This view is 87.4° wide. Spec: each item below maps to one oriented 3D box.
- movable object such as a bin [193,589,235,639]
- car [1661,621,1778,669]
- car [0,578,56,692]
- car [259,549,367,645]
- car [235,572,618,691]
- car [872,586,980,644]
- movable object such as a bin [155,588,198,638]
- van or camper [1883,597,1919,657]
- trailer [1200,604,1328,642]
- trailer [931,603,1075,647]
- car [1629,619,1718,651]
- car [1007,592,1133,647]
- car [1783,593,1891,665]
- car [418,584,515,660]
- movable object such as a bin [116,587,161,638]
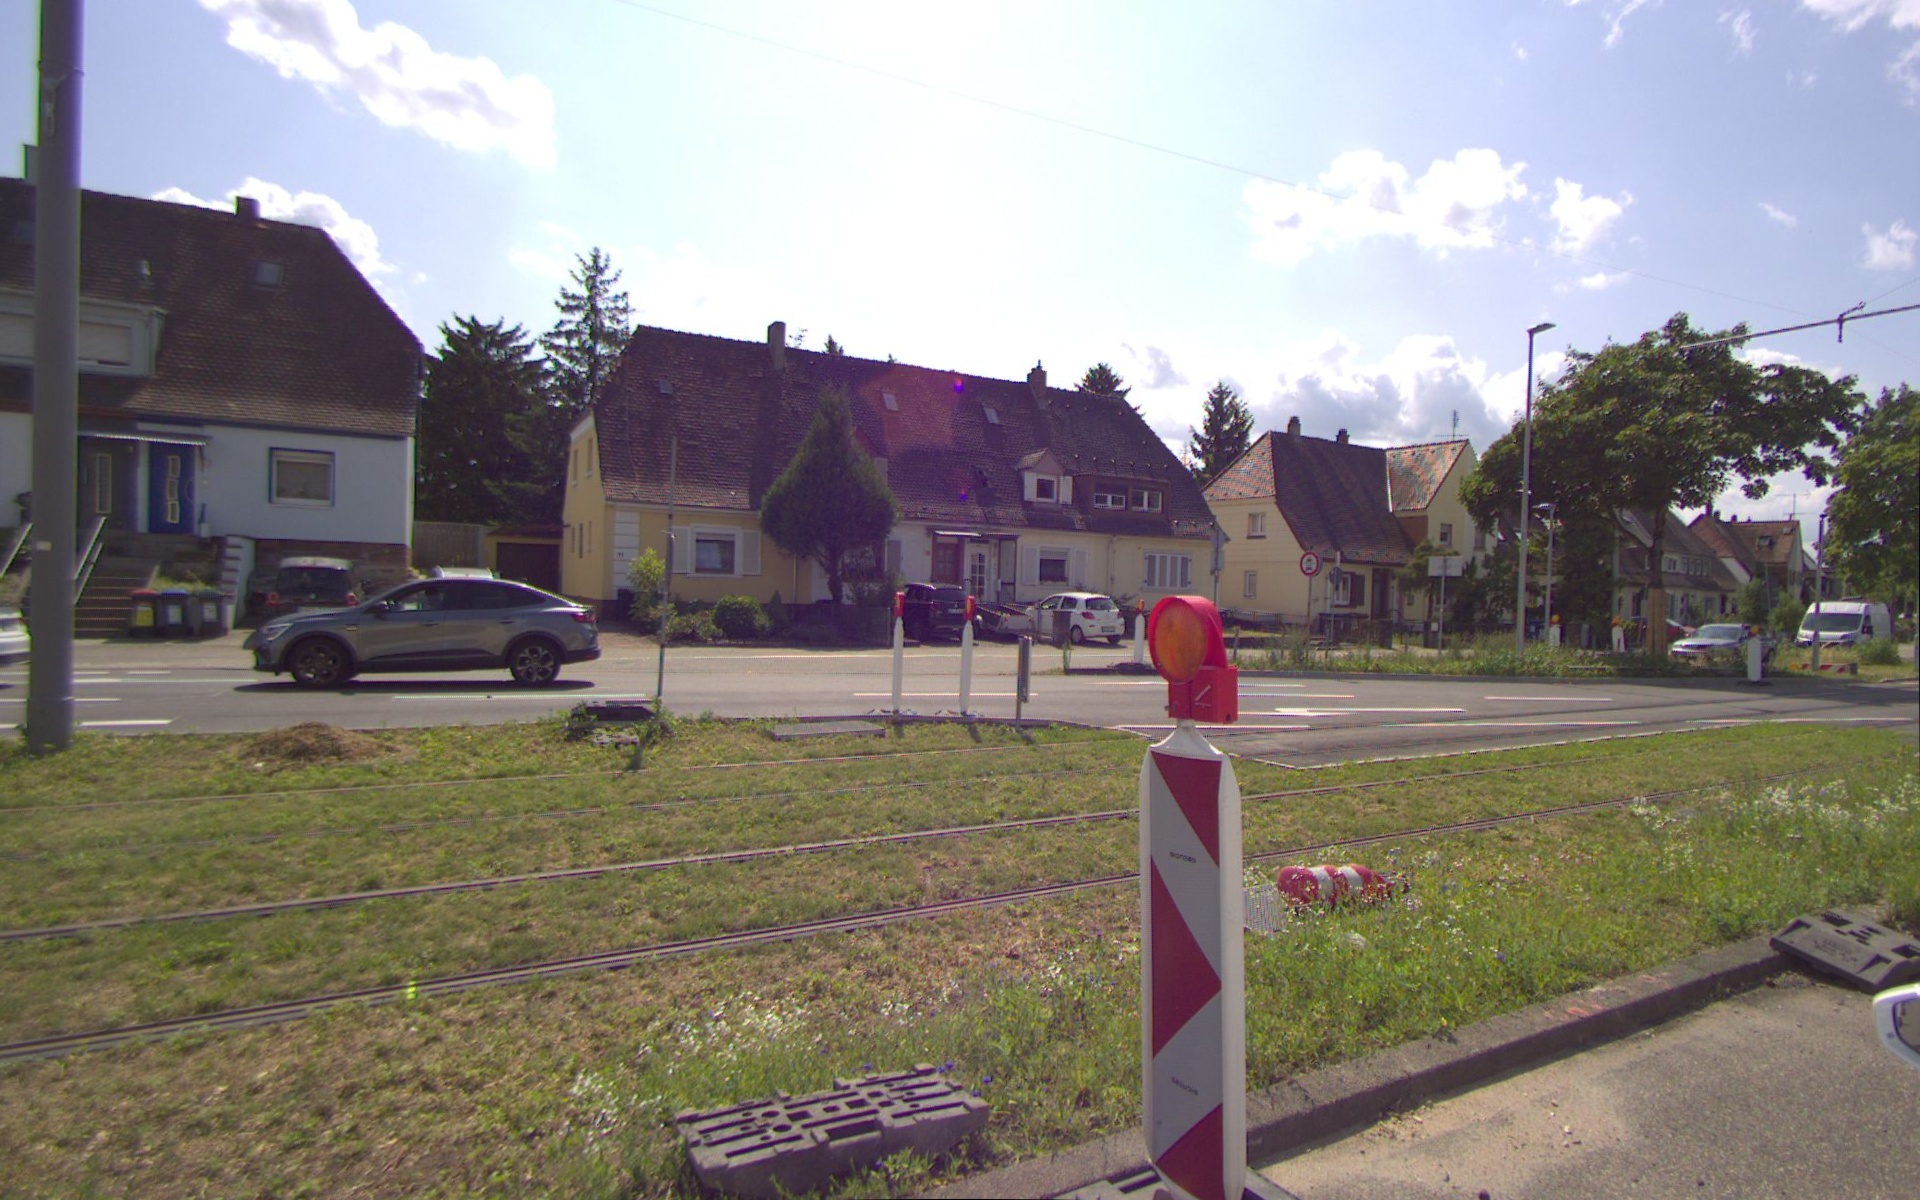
[{"bbox_3d":[-14.875,0.274,20.037,0.603,0.965,0.514,1,0,-30],"label":"movable object such as a bin"},{"bbox_3d":[25.810,1.514,34.068,4.704,1.484,1.682,2,0,-33],"label":"car"},{"bbox_3d":[-13.741,0.353,11.660,4.482,1.352,1.719,2,0,-26],"label":"car"},{"bbox_3d":[-13.929,-0.077,21.756,1.782,1.870,3.965,1,0,-32],"label":"car"},{"bbox_3d":[-7.584,0.458,14.786,4.703,1.547,1.721,2,0,-23],"label":"car"},{"bbox_3d":[-1.076,0.411,29.636,1.685,1.565,3.869,1,0,-27],"label":"car"},{"bbox_3d":[-15.387,0.257,19.733,0.576,0.965,0.514,1,0,-30],"label":"movable object such as a bin"},{"bbox_3d":[50.631,1.429,52.498,7.232,3.010,2.357,2,0,-39],"label":"van or camper"},{"bbox_3d":[12.664,0.934,42.249,2.000,1.412,5.231,2,0,-29],"label":"trailer"},{"bbox_3d":[1.189,0.717,30.429,1.939,1.139,4.893,2,0,-32],"label":"trailer"},{"bbox_3d":[38.669,1.874,54.511,1.655,1.542,3.592,2,0,-36],"label":"car"},{"bbox_3d":[3.378,0.575,31.461,1.744,1.565,3.922,1,0,-36],"label":"car"},{"bbox_3d":[35.300,1.147,40.401,4.867,2.704,2.139,2,0,-35],"label":"car"},{"bbox_3d":[-11.505,0.459,23.301,1.663,1.576,3.857,1,0,-32],"label":"car"},{"bbox_3d":[-15.883,0.242,19.439,0.576,0.965,0.514,1,0,-30],"label":"movable object such as a bin"}]
